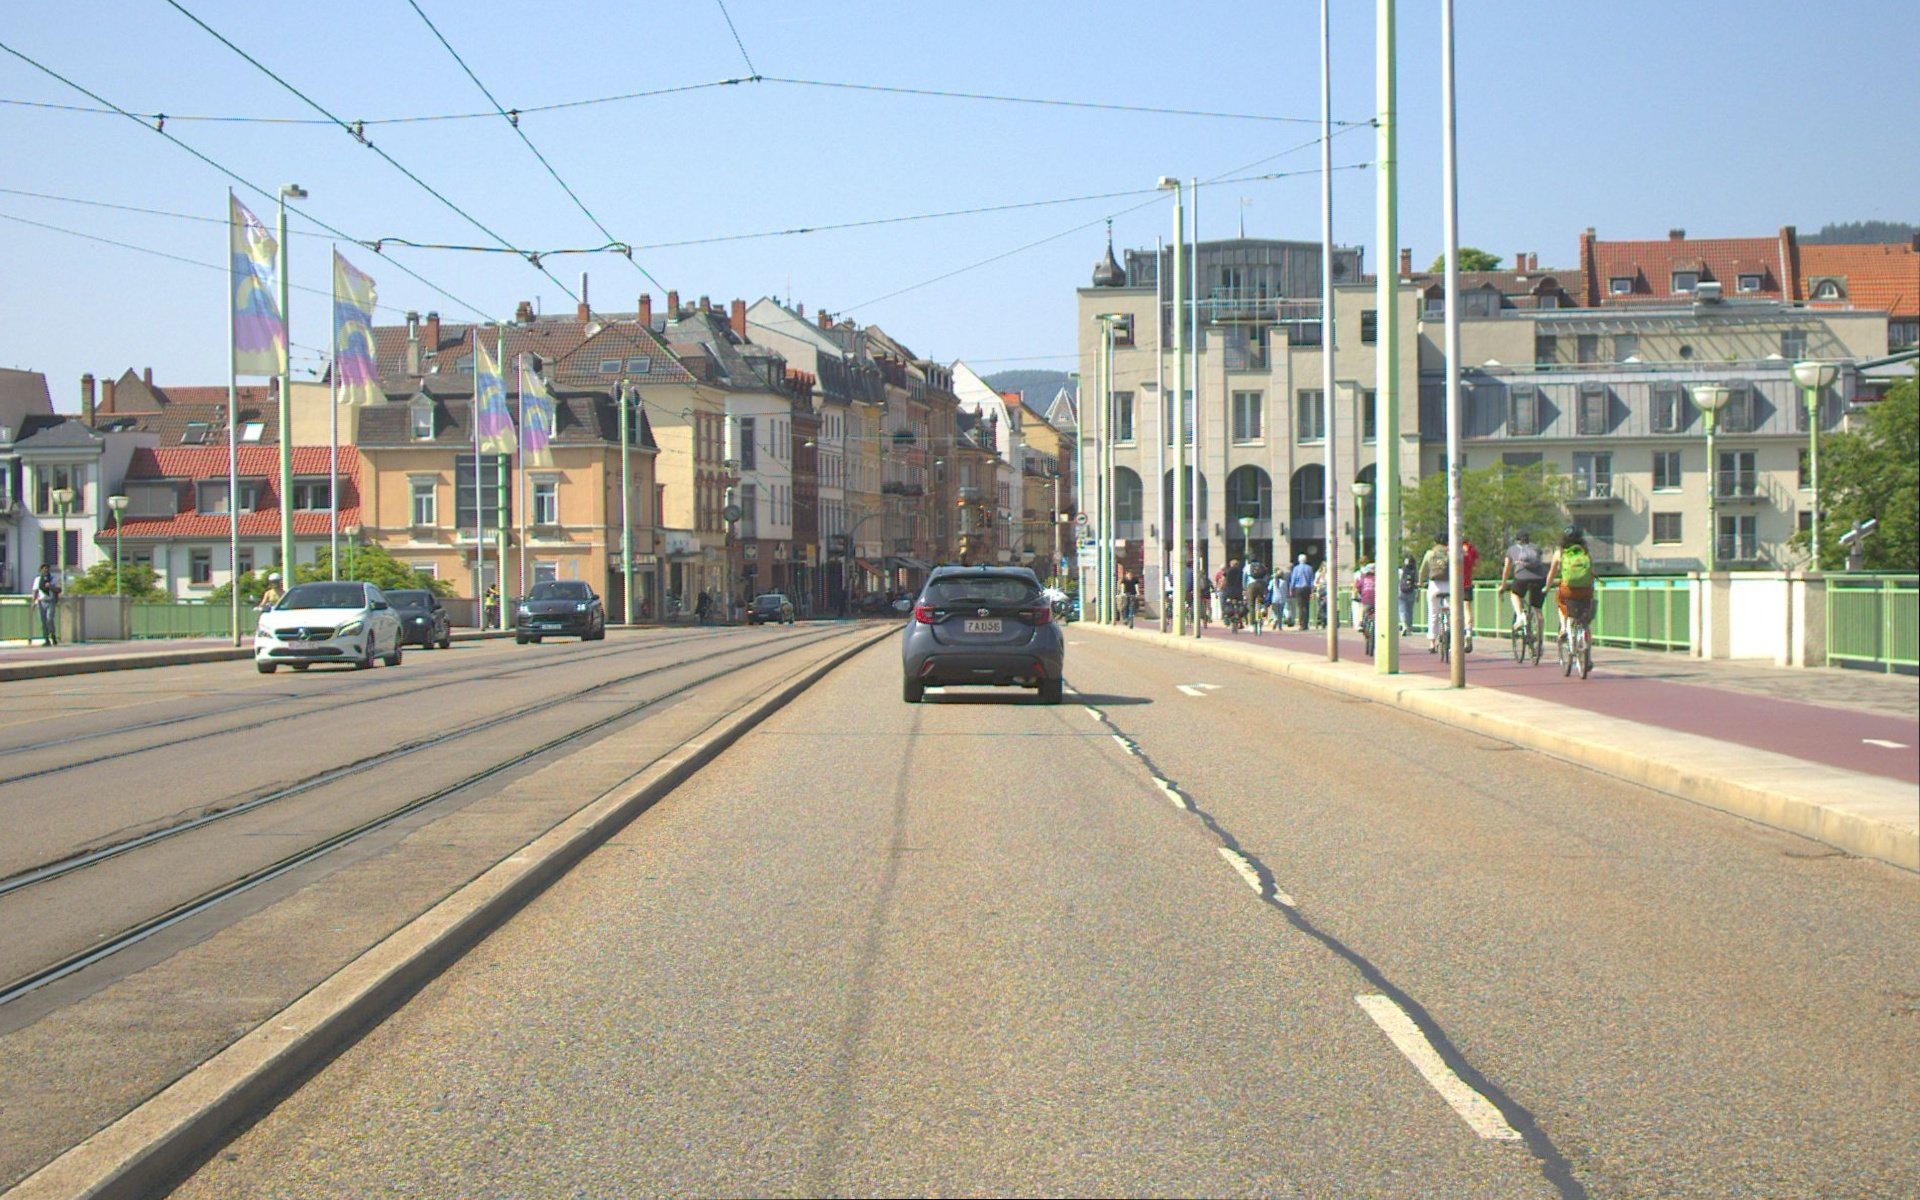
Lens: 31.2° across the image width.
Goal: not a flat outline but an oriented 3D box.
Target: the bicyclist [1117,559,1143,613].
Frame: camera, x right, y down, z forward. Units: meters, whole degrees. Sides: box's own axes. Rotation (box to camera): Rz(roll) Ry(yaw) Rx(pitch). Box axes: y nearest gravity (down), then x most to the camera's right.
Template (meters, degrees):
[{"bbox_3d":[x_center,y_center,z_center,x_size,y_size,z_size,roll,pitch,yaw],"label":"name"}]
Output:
[{"bbox_3d":[4.994,-0.410,100.913,0.653,1.561,1.337,-2,0,0],"label":"bicyclist"}]

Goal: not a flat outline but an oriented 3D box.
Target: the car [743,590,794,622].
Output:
[{"bbox_3d":[-9.308,0.290,167.166,1.994,1.474,4.000,0,1,4],"label":"car"}]

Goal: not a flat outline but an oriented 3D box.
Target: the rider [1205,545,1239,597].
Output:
[{"bbox_3d":[7.579,-0.840,99.396,0.889,1.499,0.841,0,1,-1],"label":"rider"}]

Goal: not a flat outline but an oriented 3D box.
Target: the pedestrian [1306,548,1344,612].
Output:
[{"bbox_3d":[9.998,-0.554,94.288,0.929,1.755,0.937,0,1,0],"label":"pedestrian"}]

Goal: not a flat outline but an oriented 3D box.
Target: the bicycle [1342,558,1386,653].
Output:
[{"bbox_3d":[5.982,0.064,50.824,0.534,1.362,2.215,0,1,10],"label":"bicycle"}]

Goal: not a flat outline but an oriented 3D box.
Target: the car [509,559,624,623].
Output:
[{"bbox_3d":[-10.093,-0.251,88.503,1.994,1.594,4.337,0,1,7],"label":"car"}]

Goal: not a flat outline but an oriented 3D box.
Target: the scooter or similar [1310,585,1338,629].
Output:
[{"bbox_3d":[9.031,0.171,85.330,0.588,1.065,0.865,0,1,-2],"label":"scooter or similar"}]

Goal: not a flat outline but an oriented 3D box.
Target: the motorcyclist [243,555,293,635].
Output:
[{"bbox_3d":[-13.855,-0.105,68.841,0.827,1.568,0.832,0,1,-1],"label":"motorcyclist"}]

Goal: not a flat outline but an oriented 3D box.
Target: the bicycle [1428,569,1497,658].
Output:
[{"bbox_3d":[7.442,0.184,50.966,0.618,1.266,2.216,0,1,-2],"label":"bicycle"}]

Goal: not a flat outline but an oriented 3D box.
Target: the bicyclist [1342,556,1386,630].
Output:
[{"bbox_3d":[5.996,-0.109,51.024,0.599,1.098,0.852,0,1,10],"label":"bicyclist"}]

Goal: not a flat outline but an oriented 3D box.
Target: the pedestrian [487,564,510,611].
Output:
[{"bbox_3d":[-17.845,-0.491,132.945,0.763,1.780,0.663,0,1,2],"label":"pedestrian"}]

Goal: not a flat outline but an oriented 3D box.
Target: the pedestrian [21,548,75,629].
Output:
[{"bbox_3d":[-19.560,-0.259,73.750,0.830,1.716,1.094,0,1,0],"label":"pedestrian"}]

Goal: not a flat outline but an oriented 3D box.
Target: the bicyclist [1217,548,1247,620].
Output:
[{"bbox_3d":[6.385,-0.379,80.725,0.627,1.683,0.869,0,1,-1],"label":"bicyclist"}]

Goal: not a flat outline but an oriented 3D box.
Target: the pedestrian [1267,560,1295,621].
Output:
[{"bbox_3d":[7.859,-0.238,84.157,0.613,1.460,0.848,0,1,0],"label":"pedestrian"}]

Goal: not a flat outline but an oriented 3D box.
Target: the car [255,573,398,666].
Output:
[{"bbox_3d":[-10.185,0.278,55.555,1.993,1.404,4.548,0,1,-7],"label":"car"}]

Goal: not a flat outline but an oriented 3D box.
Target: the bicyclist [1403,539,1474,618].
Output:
[{"bbox_3d":[6.356,-0.286,45.690,0.735,1.027,1.175,0,1,-2],"label":"bicyclist"}]

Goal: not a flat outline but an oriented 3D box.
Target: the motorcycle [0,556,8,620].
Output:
[{"bbox_3d":[-16.985,-0.196,59.033,0.701,1.106,2.179,0,1,-1],"label":"motorcycle"}]

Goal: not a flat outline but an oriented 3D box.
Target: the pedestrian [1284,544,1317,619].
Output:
[{"bbox_3d":[8.254,-0.441,83.321,0.712,1.804,0.848,0,1,0],"label":"pedestrian"}]

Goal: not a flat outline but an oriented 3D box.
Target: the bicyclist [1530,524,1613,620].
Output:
[{"bbox_3d":[6.716,-0.310,37.802,0.666,1.041,0.980,0,1,-4],"label":"bicyclist"}]

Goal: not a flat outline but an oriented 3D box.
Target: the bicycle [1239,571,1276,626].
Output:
[{"bbox_3d":[6.539,-0.038,75.572,0.593,1.174,1.940,0,1,-1],"label":"bicycle"}]

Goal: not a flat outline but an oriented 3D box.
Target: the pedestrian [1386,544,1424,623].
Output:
[{"bbox_3d":[8.906,-0.332,68.831,0.599,1.580,0.867,0,1,-2],"label":"pedestrian"}]

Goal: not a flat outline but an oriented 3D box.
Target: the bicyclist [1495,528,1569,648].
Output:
[{"bbox_3d":[7.222,-0.156,43.416,0.735,1.495,0.980,0,1,-2],"label":"bicyclist"}]

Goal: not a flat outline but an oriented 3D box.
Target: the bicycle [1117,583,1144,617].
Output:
[{"bbox_3d":[5.008,0.005,100.849,0.653,0.978,2.178,-2,0,0],"label":"bicycle"}]

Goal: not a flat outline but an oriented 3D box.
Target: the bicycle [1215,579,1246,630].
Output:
[{"bbox_3d":[6.374,0.095,81.001,0.526,1.174,2.029,0,1,-1],"label":"bicycle"}]

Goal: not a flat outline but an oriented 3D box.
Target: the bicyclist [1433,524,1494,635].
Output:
[{"bbox_3d":[7.460,-0.307,50.951,0.735,1.630,0.867,0,1,-2],"label":"bicyclist"}]

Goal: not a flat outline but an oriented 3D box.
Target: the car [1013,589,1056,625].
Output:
[{"bbox_3d":[3.322,0.301,152.538,1.804,1.464,4.000,-2,1,2],"label":"car"}]

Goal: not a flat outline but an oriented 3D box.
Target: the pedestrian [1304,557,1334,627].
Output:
[{"bbox_3d":[8.997,-0.201,86.206,0.641,1.751,0.867,0,1,-2],"label":"pedestrian"}]

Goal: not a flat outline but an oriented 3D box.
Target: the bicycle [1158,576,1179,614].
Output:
[{"bbox_3d":[6.631,-0.163,109.305,0.666,1.174,2.029,0,1,3],"label":"bicycle"}]

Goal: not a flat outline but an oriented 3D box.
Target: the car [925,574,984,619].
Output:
[{"bbox_3d":[-0.201,-0.128,119.280,1.803,1.464,4.000,-2,1,-3],"label":"car"}]

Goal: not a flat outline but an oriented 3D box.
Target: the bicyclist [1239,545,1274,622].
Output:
[{"bbox_3d":[6.512,-0.370,75.576,0.656,1.670,0.869,0,1,-1],"label":"bicyclist"}]

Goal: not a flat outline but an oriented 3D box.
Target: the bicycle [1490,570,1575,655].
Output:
[{"bbox_3d":[7.210,0.146,43.407,0.618,1.034,2.266,0,1,-2],"label":"bicycle"}]

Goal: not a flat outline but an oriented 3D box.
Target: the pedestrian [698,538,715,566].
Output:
[{"bbox_3d":[-12.971,-2.464,175.874,0.763,1.393,0.663,0,1,2],"label":"pedestrian"}]

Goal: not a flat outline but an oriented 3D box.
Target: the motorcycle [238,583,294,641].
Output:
[{"bbox_3d":[-13.861,0.233,68.704,0.701,1.106,2.179,0,1,-1],"label":"motorcycle"}]

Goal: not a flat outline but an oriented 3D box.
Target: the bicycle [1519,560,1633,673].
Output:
[{"bbox_3d":[6.715,0.170,37.568,0.695,1.189,2.079,-1,0,-5],"label":"bicycle"}]

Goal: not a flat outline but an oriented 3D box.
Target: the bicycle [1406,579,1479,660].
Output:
[{"bbox_3d":[6.382,0.243,45.558,0.618,1.034,2.051,0,1,-2],"label":"bicycle"}]

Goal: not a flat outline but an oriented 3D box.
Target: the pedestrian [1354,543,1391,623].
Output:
[{"bbox_3d":[8.250,-0.342,68.782,0.599,1.580,0.867,0,1,-2],"label":"pedestrian"}]

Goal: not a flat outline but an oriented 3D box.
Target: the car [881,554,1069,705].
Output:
[{"bbox_3d":[0.111,0.289,38.438,1.910,1.535,4.001,0,1,-2],"label":"car"}]

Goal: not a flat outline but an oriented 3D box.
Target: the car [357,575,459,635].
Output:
[{"bbox_3d":[-13.086,0.100,81.661,1.758,1.358,4.384,0,1,-1],"label":"car"}]
